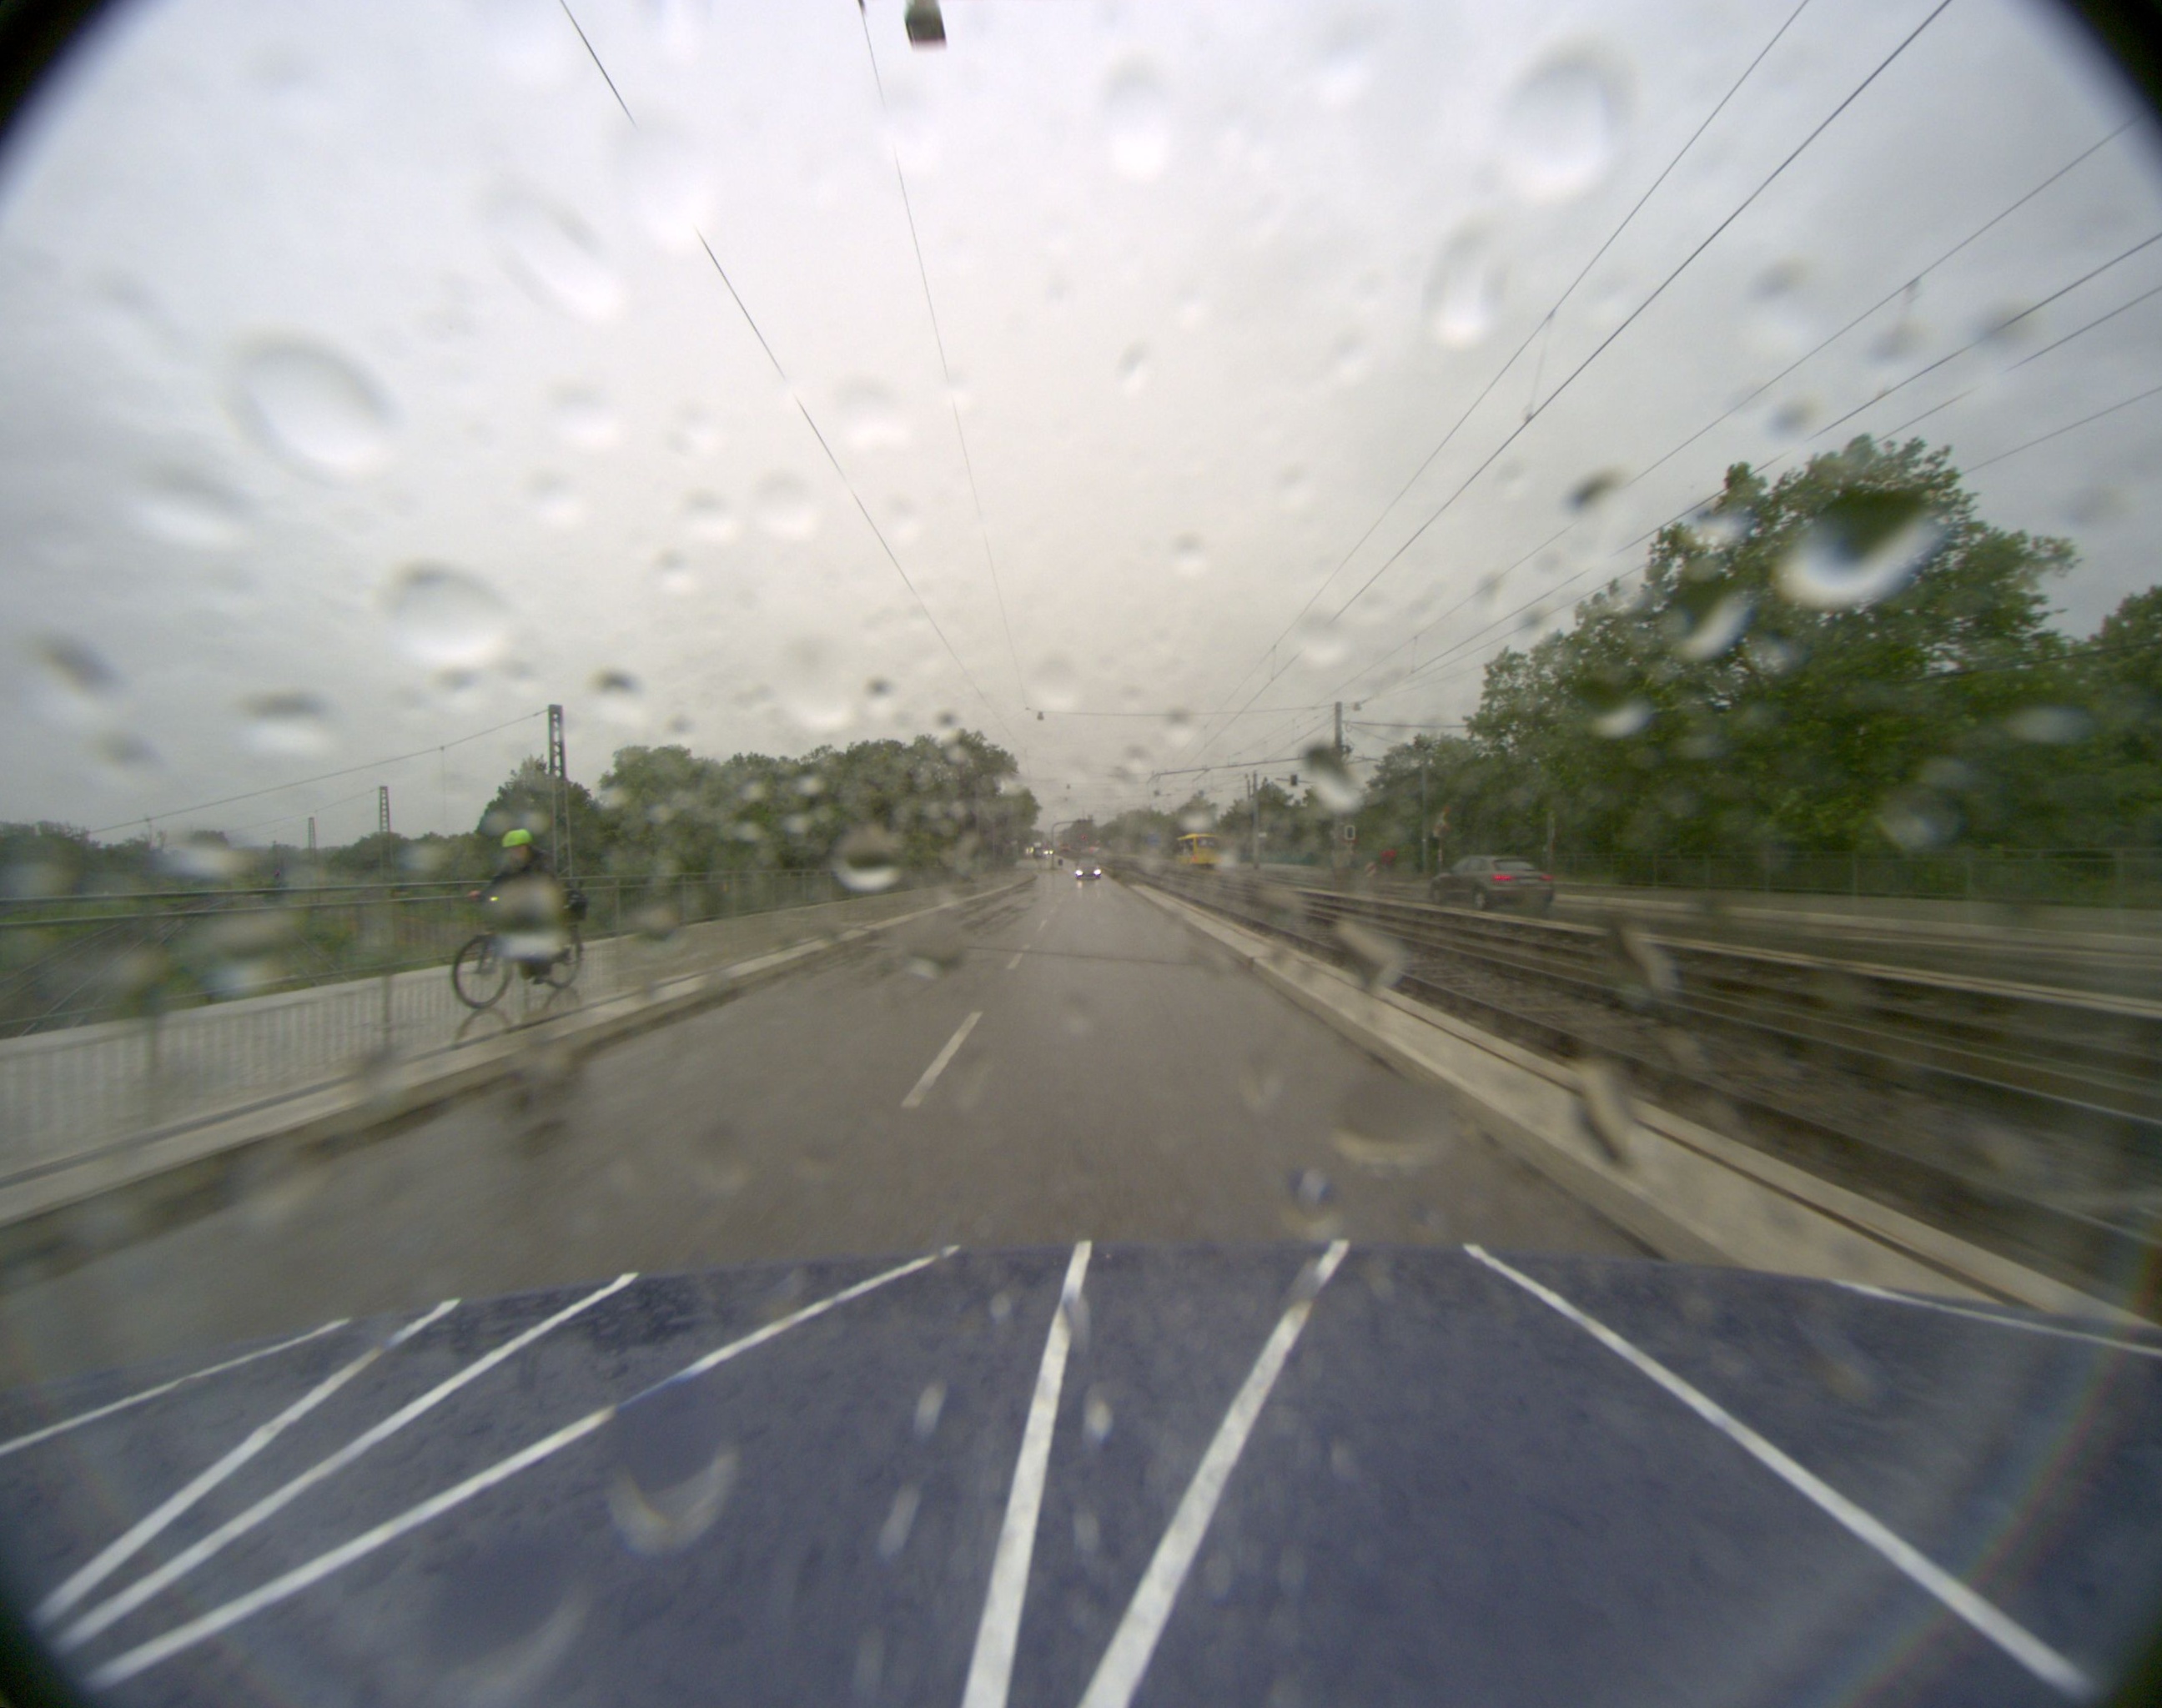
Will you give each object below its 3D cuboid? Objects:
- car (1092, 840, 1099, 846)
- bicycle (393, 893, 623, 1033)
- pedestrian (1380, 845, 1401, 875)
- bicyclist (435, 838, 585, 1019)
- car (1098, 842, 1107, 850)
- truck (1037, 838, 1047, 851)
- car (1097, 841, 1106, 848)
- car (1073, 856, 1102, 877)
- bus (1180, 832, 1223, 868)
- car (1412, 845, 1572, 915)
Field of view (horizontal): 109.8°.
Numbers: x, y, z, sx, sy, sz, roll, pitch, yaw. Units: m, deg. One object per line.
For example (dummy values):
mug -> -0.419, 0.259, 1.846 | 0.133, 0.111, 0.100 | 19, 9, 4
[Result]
car -> 4.743, -3.613, 249.664 | 1.999, 1.639, 5.368 | -3, 1, -4
bicycle -> -5.959, 1.067, 8.126 | 0.725, 1.122, 2.167 | -3, 1, 1
pedestrian -> 19.998, 0.383, 49.158 | 0.866, 1.809, 1.042 | -3, 2, -1
bicyclist -> -5.968, 0.733, 8.007 | 0.727, 1.754, 0.949 | -3, 2, 1
car -> 5.924, -2.257, 211.200 | 1.999, 2.032, 5.025 | -3, 1, -4
truck -> -11.428, -2.738, 222.573 | 2.568, 3.848, 7.842 | -3, 1, -4
car -> 6.206, -2.838, 229.615 | 1.999, 2.032, 5.025 | -3, 1, -4
car -> 0.489, 0.984, 61.370 | 1.999, 1.497, 4.194 | -3, 0, -4
bus -> 12.120, -0.298, 77.246 | 2.715, 3.321, 10.994 | 1, -1, 1
car -> 11.743, 0.651, 22.206 | 1.998, 1.707, 4.940 | 1, 2, 1
